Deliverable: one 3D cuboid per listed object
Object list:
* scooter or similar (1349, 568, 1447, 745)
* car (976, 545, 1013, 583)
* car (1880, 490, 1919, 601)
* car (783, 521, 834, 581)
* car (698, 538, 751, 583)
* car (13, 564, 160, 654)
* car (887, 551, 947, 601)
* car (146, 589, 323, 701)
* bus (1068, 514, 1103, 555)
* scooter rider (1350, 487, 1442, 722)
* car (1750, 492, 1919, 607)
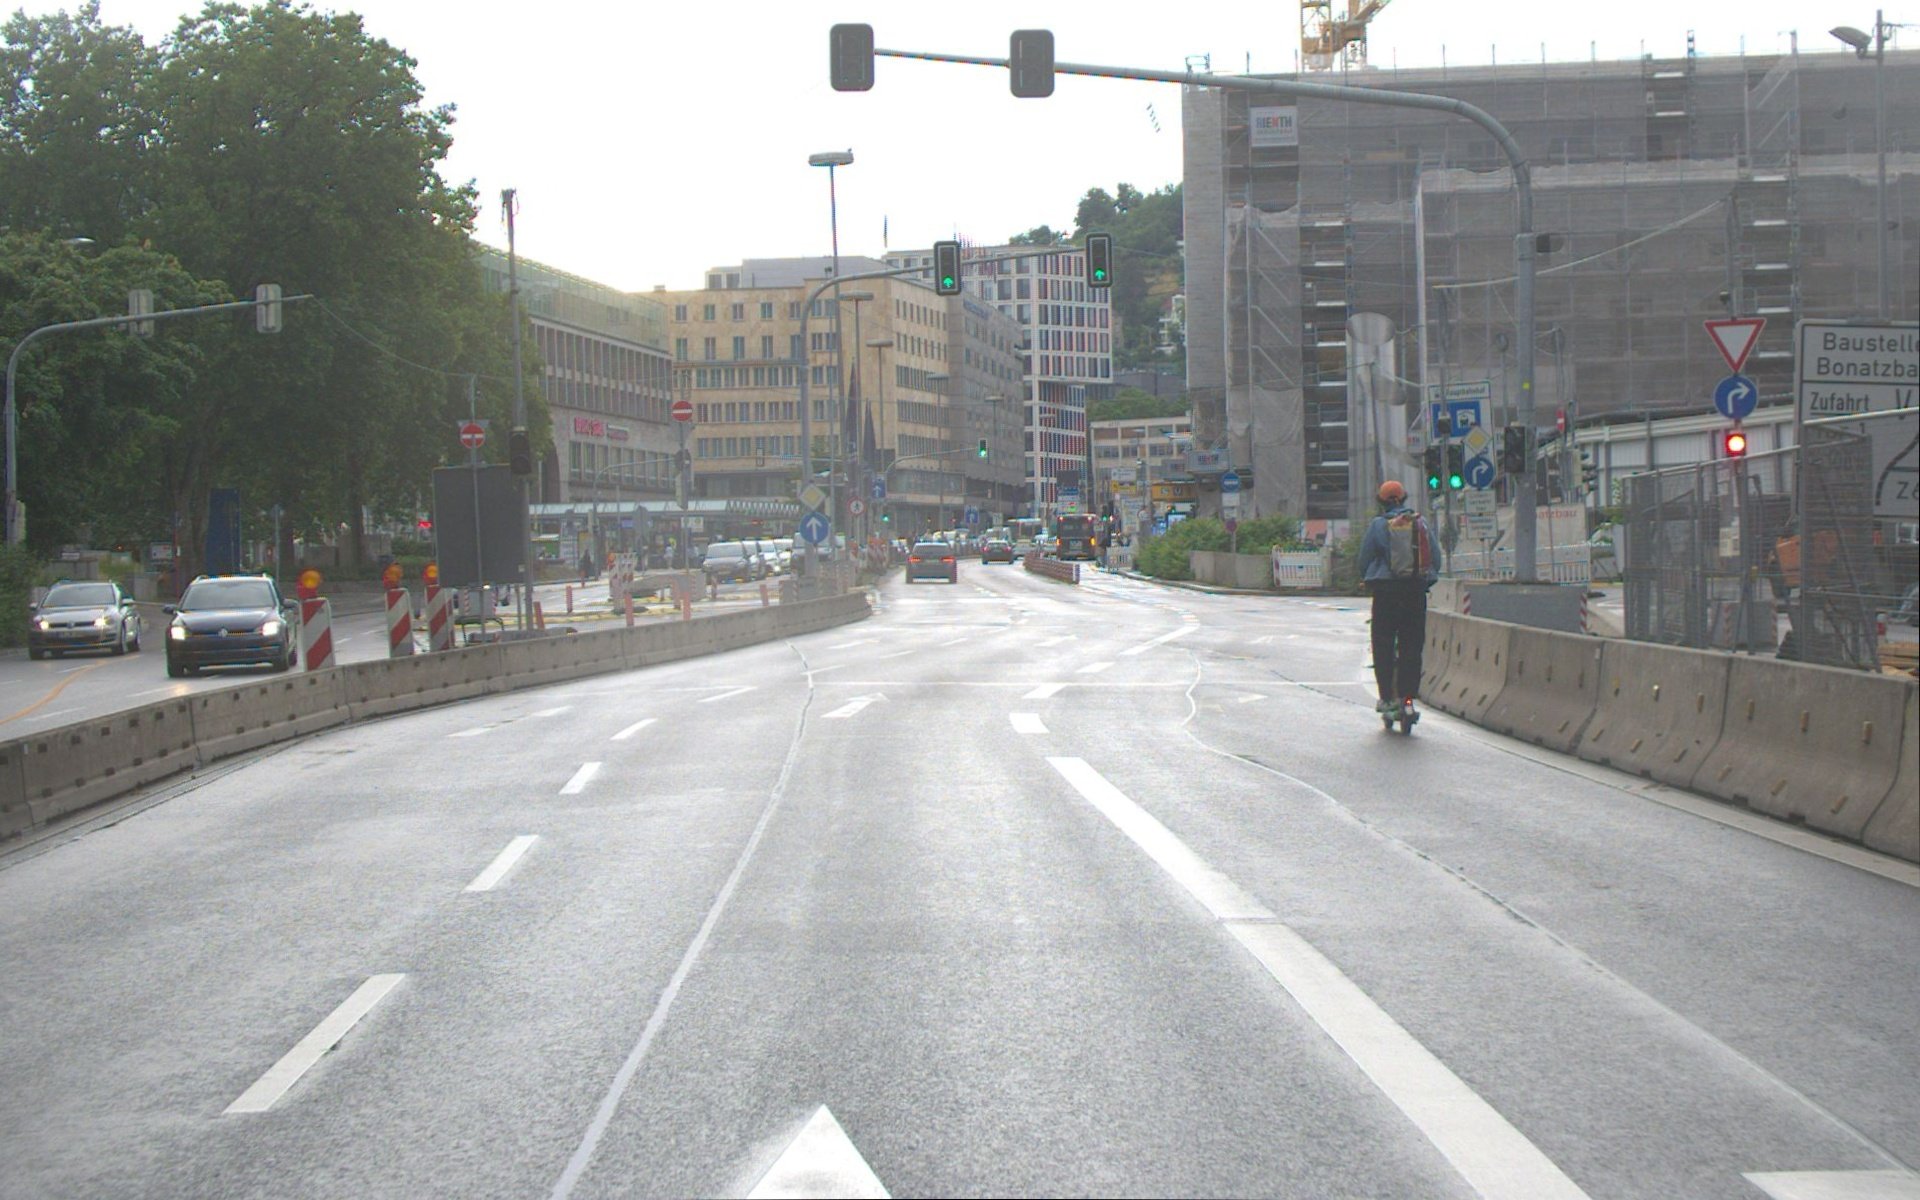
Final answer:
[{"bbox_3d":[3.379,0.417,26.627,0.597,1.314,1.667,-1,1,2],"label":"scooter or similar"},{"bbox_3d":[2.050,-2.087,202.462,1.993,2.007,3.999,-3,-1,1],"label":"car"},{"bbox_3d":[16.680,-0.883,56.211,1.846,1.800,5.087,-1,2,-1],"label":"car"},{"bbox_3d":[-5.990,-1.918,135.885,1.902,2.075,4.177,-3,-1,-3],"label":"car"},{"bbox_3d":[-9.271,-1.530,135.388,1.902,1.523,4.177,-3,-1,-3],"label":"car"},{"bbox_3d":[-16.938,0.206,66.851,1.993,1.536,4.445,-3,-1,-5],"label":"car"},{"bbox_3d":[-1.538,-0.832,121.702,1.902,1.523,4.177,-3,-1,-3],"label":"car"},{"bbox_3d":[-11.014,0.725,52.467,1.993,1.536,4.580,-3,-1,-5],"label":"car"},{"bbox_3d":[8.363,-4.350,228.567,1.994,2.423,3.999,-3,-1,5],"label":"bus"},{"bbox_3d":[3.367,0.031,26.604,0.597,1.779,0.997,-1,0,2],"label":"scooter rider"},{"bbox_3d":[16.052,-0.904,62.169,1.911,1.968,5.164,-1,1,-5],"label":"car"}]
